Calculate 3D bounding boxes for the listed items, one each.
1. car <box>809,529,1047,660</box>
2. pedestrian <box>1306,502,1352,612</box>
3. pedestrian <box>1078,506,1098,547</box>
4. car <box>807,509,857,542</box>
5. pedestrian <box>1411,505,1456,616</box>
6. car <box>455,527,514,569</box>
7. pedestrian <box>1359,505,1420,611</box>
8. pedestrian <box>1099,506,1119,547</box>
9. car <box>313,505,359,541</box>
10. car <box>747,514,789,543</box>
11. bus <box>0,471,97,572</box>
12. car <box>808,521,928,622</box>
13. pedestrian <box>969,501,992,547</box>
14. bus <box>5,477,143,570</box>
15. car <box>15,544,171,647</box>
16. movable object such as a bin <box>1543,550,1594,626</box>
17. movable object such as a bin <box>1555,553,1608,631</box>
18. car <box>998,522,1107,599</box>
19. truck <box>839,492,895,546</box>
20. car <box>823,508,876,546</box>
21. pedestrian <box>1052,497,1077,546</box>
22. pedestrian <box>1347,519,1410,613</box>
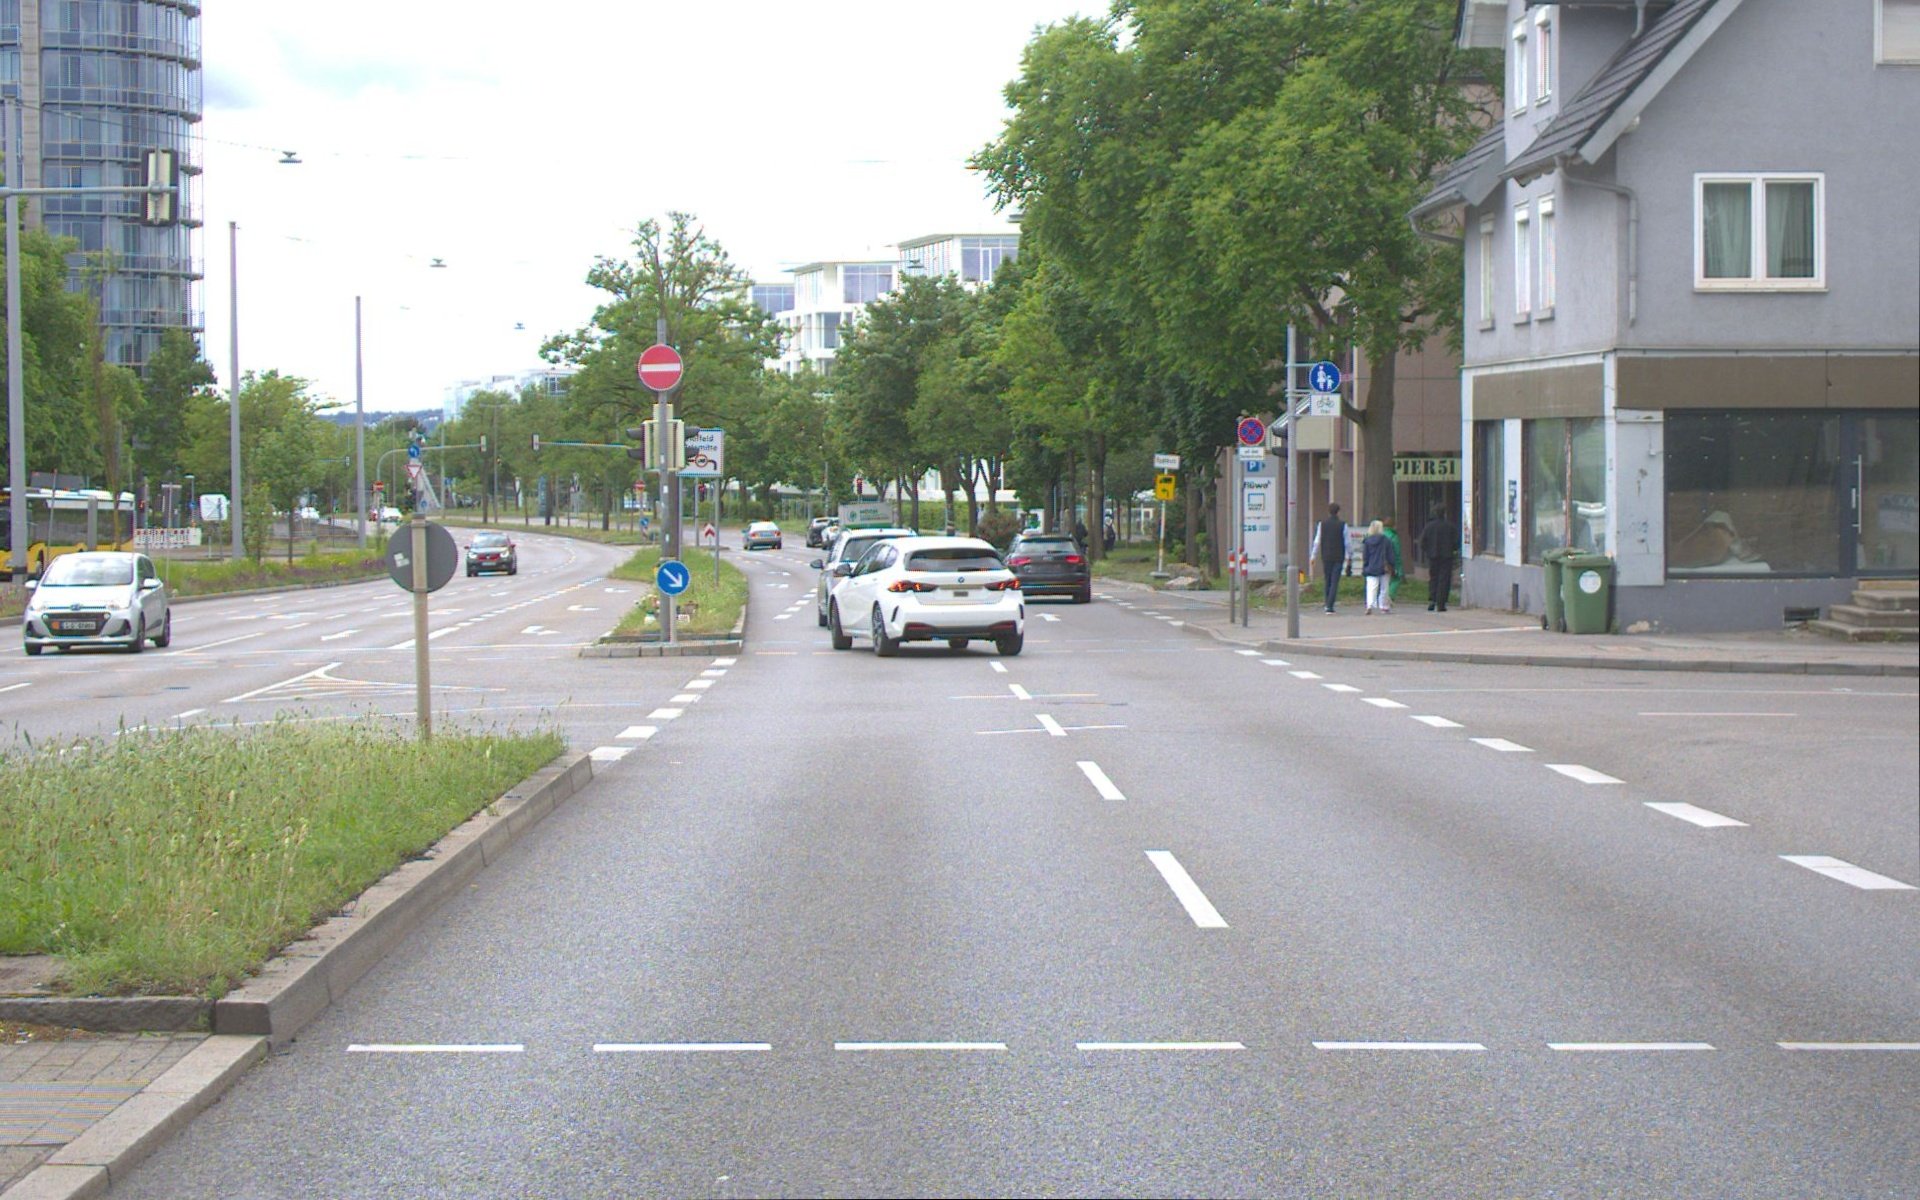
[{"bbox_3d":[-0.466,-0.115,43.445,1.993,1.472,4.258,-1,2,-15],"label":"car"},{"bbox_3d":[6.028,-0.709,56.149,0.705,1.773,0.870,-1,1,5],"label":"pedestrian"},{"bbox_3d":[4.845,-2.788,130.276,0.650,1.564,0.671,-1,1,-8],"label":"pedestrian"},{"bbox_3d":[-6.501,-3.760,173.871,2.250,1.641,4.934,-1,1,-5],"label":"car"},{"bbox_3d":[7.576,-0.635,55.003,0.705,1.754,1.052,0,1,8],"label":"pedestrian"},{"bbox_3d":[-17.395,-1.917,125.796,1.702,1.487,3.562,-1,1,-1],"label":"car"},{"bbox_3d":[7.292,-0.713,58.332,0.706,1.773,0.869,0,1,31],"label":"pedestrian"},{"bbox_3d":[5.651,-2.786,130.332,0.650,1.564,0.671,-1,1,-8],"label":"pedestrian"},{"bbox_3d":[-36.329,-4.485,200.273,1.965,2.007,4.000,1,1,-1],"label":"car"},{"bbox_3d":[-9.686,-3.614,173.164,1.967,1.415,4.023,-1,1,-5],"label":"car"},{"bbox_3d":[-31.392,-2.579,114.477,3.144,3.214,10.286,-1,1,-3],"label":"bus"},{"bbox_3d":[-1.470,-0.471,54.911,1.822,1.535,4.115,-1,1,-2],"label":"car"},{"bbox_3d":[1.030,-3.808,172.467,0.930,2.300,1.011,1,0,-10],"label":"pedestrian"},{"bbox_3d":[-31.731,-2.721,123.481,3.144,3.214,7.766,-1,1,-2],"label":"bus"},{"bbox_3d":[-12.801,-0.092,50.936,1.684,1.457,3.556,-1,1,-5],"label":"car"},{"bbox_3d":[7.935,-0.159,44.851,0.529,0.976,0.736,-1,1,-1],"label":"movable object such as a bin"},{"bbox_3d":[7.963,-0.104,44.061,0.529,0.976,0.736,-1,1,-1],"label":"movable object such as a bin"},{"bbox_3d":[1.855,-0.802,70.187,1.889,1.489,4.099,-1,0,-3],"label":"car"},{"bbox_3d":[-4.260,-3.661,156.480,2.251,2.408,4.934,0,1,-5],"label":"truck"},{"bbox_3d":[-5.305,-3.495,165.077,2.251,1.751,4.934,-1,1,-5],"label":"car"},{"bbox_3d":[4.386,-3.286,144.402,0.971,2.007,0.981,1,0,-1],"label":"pedestrian"},{"bbox_3d":[6.770,-0.550,55.549,0.706,1.502,0.869,0,1,31],"label":"pedestrian"}]
